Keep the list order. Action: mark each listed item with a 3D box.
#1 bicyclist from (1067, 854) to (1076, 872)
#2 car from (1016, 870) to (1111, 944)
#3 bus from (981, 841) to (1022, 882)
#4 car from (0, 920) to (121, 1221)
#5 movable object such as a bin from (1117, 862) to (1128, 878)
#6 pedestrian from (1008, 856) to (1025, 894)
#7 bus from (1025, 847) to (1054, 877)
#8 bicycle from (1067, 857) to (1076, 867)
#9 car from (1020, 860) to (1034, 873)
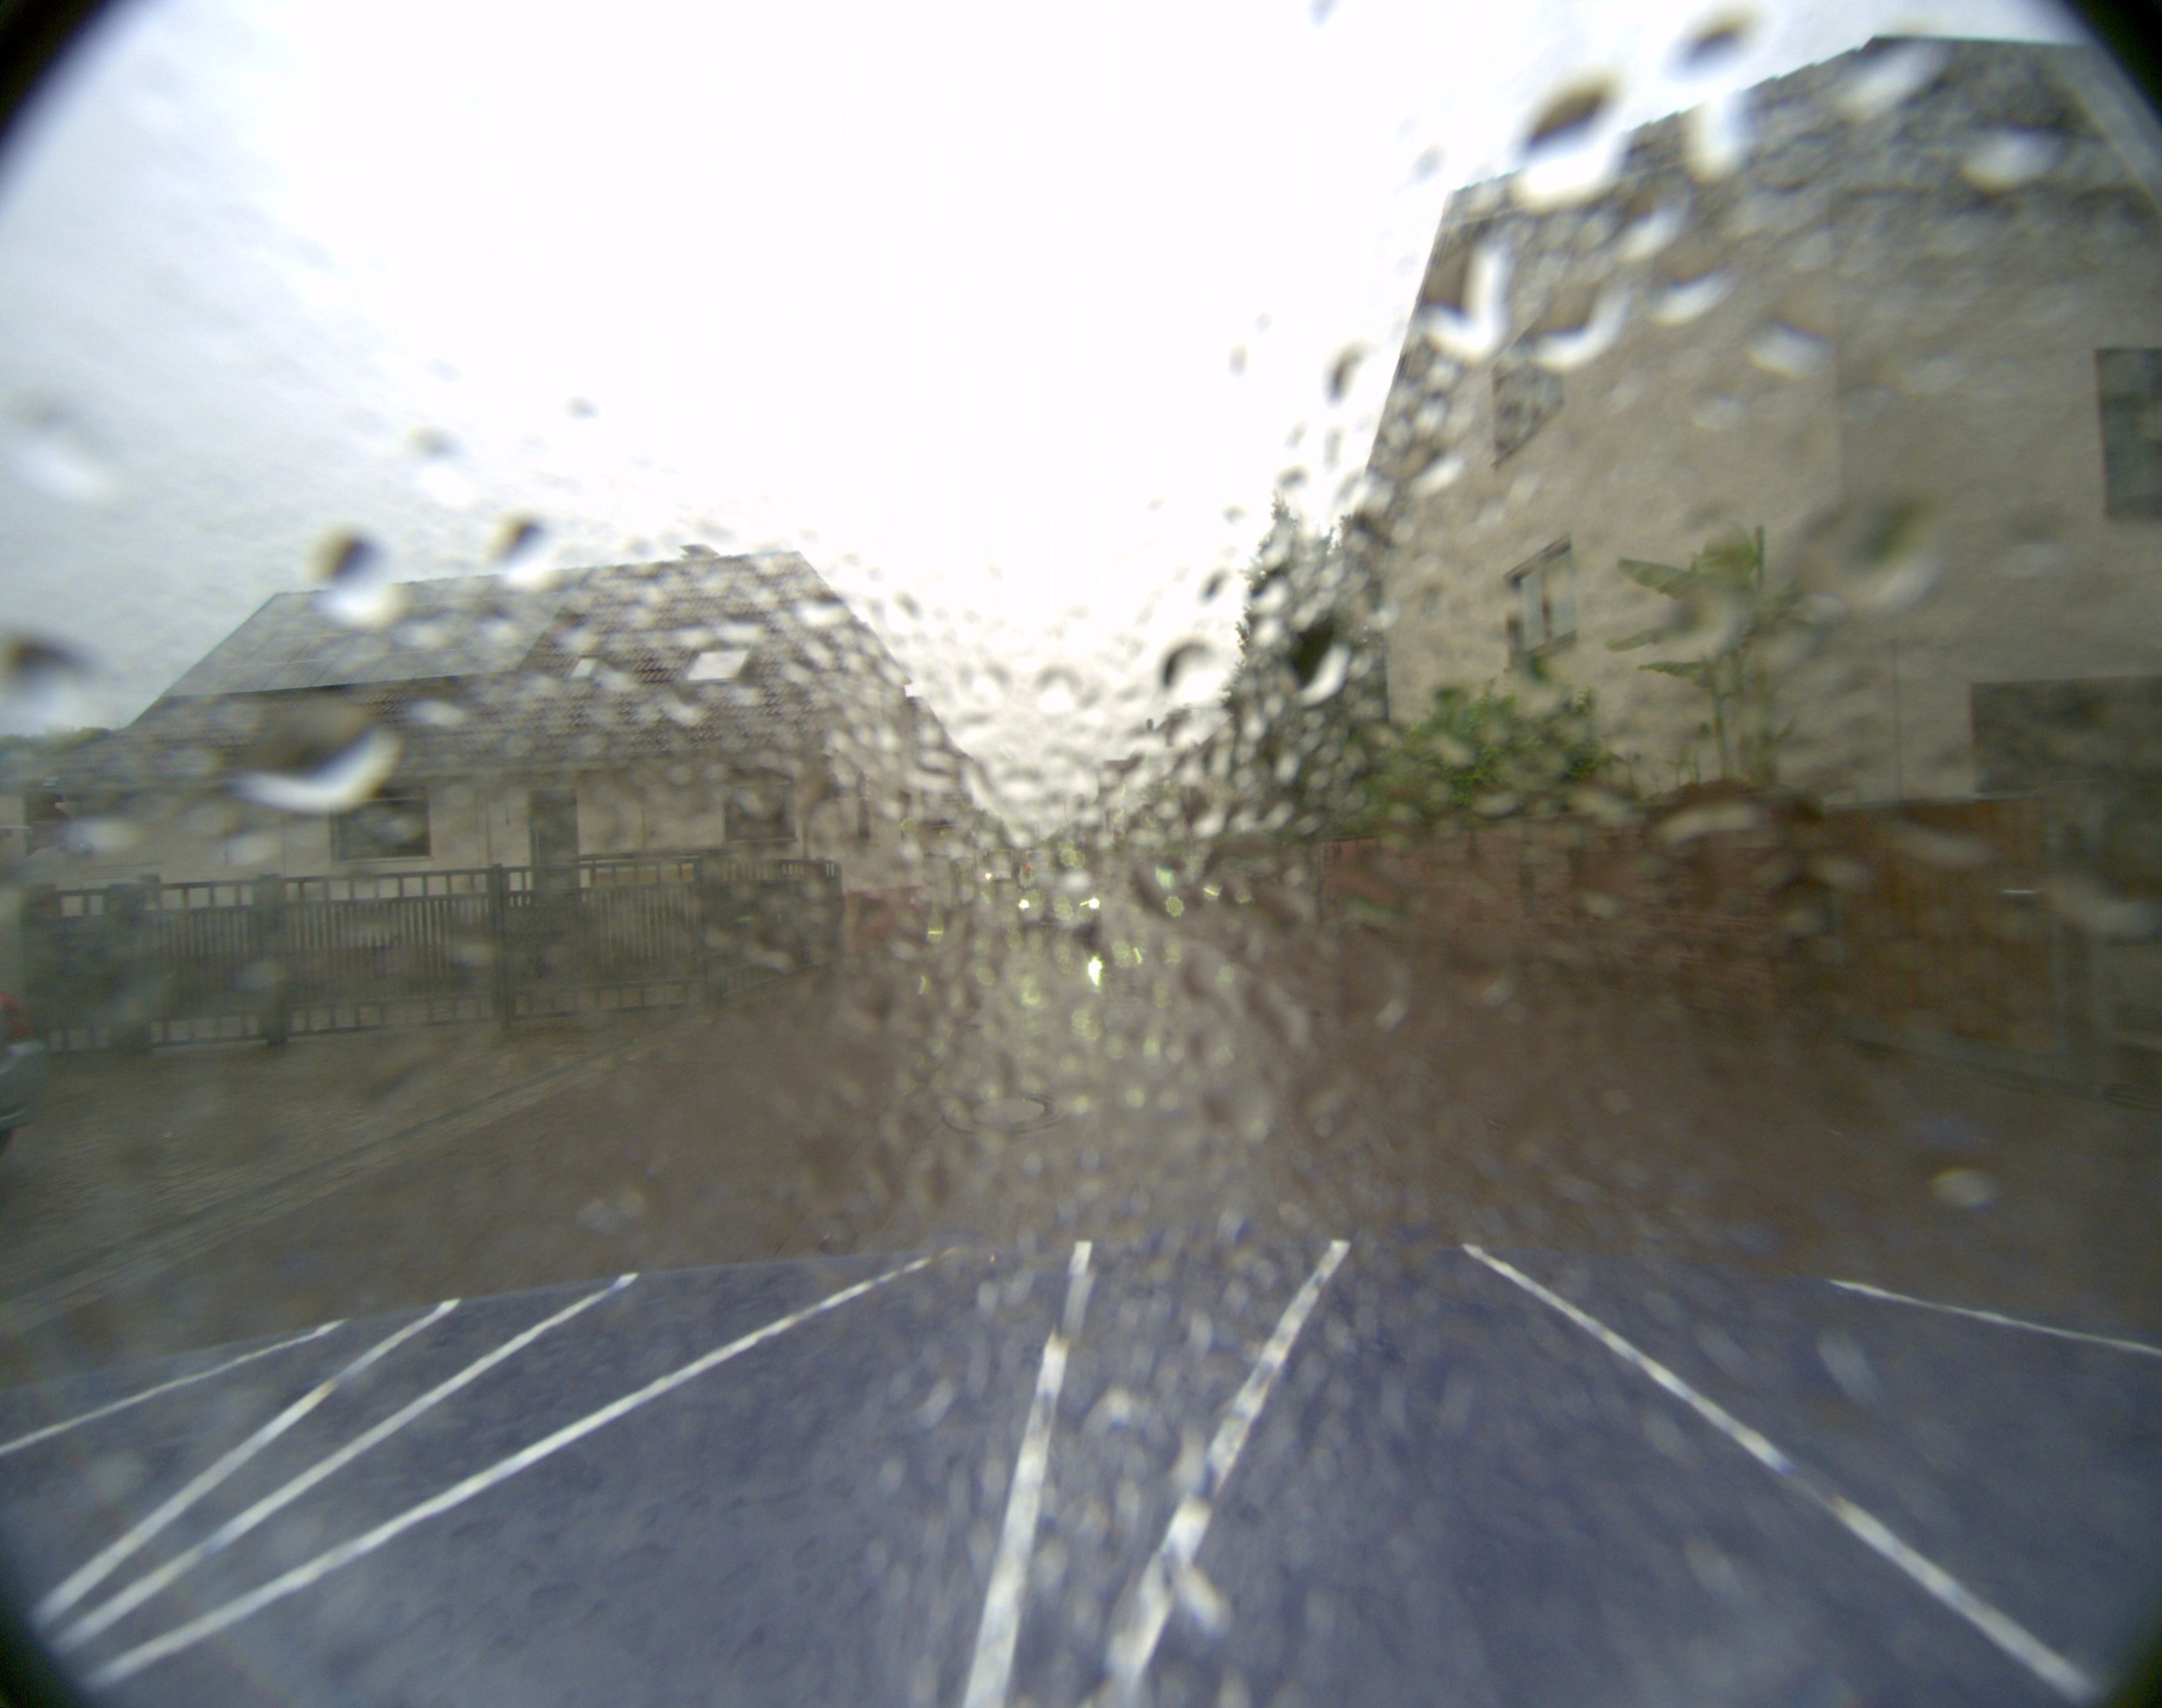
[{"bbox_3d":[-0.929,0.903,74.911,0.659,1.759,0.703,-4,-1,-8],"label":"bicyclist"},{"bbox_3d":[-0.523,1.101,17.282,1.781,1.348,4.186,-2,0,-6],"label":"car"},{"bbox_3d":[-7.877,0.691,74.352,3.443,3.391,13.862,-3,0,-7],"label":"bus"},{"bbox_3d":[-7.450,1.251,3.277,3.907,1.489,1.850,-4,1,-5],"label":"car"},{"bbox_3d":[2.500,0.956,45.707,0.539,0.925,0.544,-4,1,-9],"label":"movable object such as a bin"},{"bbox_3d":[-2.998,0.974,35.512,0.696,1.722,0.820,-2,0,-7],"label":"pedestrian"},{"bbox_3d":[-4.598,0.838,85.019,2.814,2.922,11.938,-4,0,-3],"label":"bus"},{"bbox_3d":[-0.934,0.821,74.930,0.663,0.865,1.934,-4,-2,-8],"label":"bicycle"},{"bbox_3d":[-9.012,2.029,127.075,2.000,2.002,4.241,-4,1,-7],"label":"car"}]
